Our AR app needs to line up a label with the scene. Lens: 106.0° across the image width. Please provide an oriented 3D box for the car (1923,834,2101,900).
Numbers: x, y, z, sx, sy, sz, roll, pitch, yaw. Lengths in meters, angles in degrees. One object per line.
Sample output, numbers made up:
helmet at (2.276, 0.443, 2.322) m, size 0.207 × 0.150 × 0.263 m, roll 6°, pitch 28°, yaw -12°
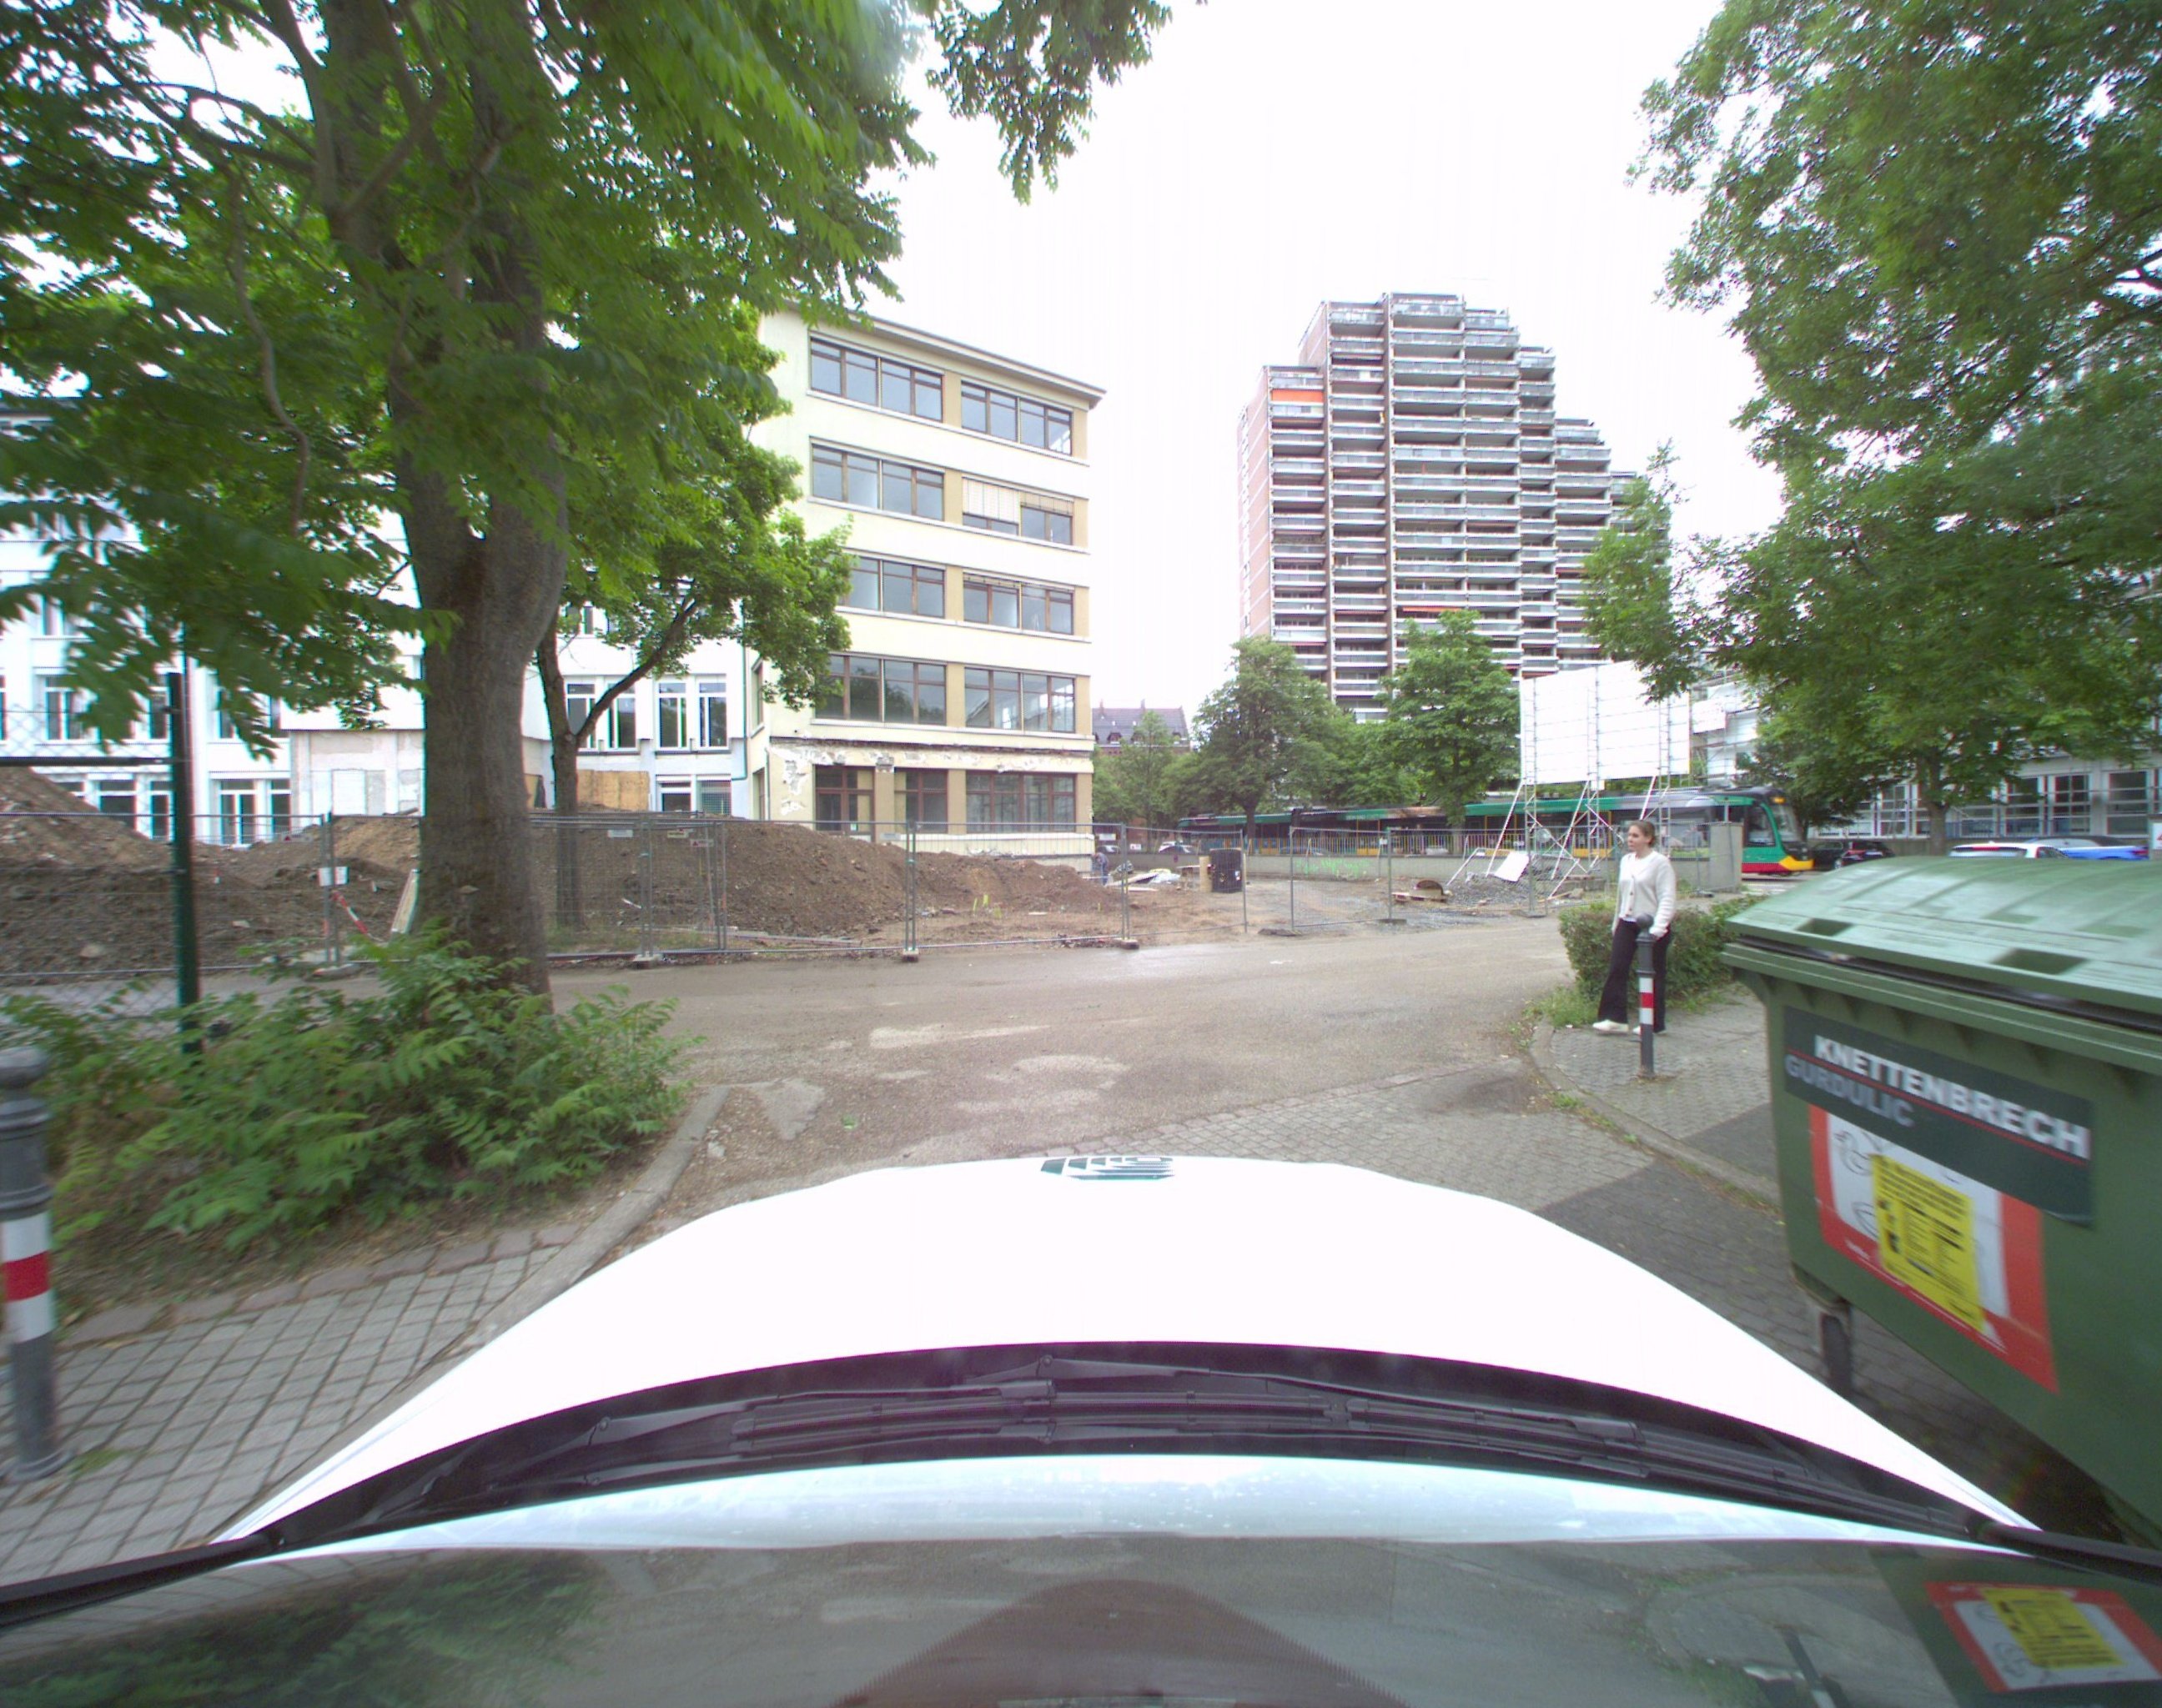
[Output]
car at (22.263, 0.330, 19.470) m, size 3.984 × 1.433 × 1.767 m, roll 1°, pitch -1°, yaw -25°

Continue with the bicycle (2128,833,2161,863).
bicycle at (43.053, -0.260, 32.384) m, size 2.302 × 1.074 × 0.644 m, roll -3°, pitch 1°, yaw -8°

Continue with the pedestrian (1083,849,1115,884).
pedestrian at (0.772, 0.517, 34.817) m, size 0.987 × 1.437 × 0.921 m, roll -1°, pitch 0°, yaw -33°

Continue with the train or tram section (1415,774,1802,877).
train or tram section at (21.722, -1.007, 35.620) m, size 2.676 × 3.614 × 14.631 m, roll -1°, pitch 0°, yaw -29°

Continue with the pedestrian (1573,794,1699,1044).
pedestrian at (4.282, 0.459, 6.279) m, size 0.742 × 1.781 × 0.667 m, roll -1°, pitch 0°, yaw 37°

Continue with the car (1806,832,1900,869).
car at (33.323, -0.144, 35.269) m, size 1.601 × 1.511 × 3.351 m, roll -1°, pitch 0°, yaw 16°

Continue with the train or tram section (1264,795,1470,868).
train or tram section at (15.682, -1.138, 46.300) m, size 2.676 × 3.614 × 12.340 m, roll -1°, pitch 0°, yaw -29°

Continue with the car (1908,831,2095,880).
car at (30.999, 0.049, 27.557) m, size 1.607 × 1.519 × 3.962 m, roll -1°, pitch 0°, yaw -29°

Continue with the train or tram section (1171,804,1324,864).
train or tram section at (10.801, -1.197, 55.050) m, size 2.676 × 3.614 × 12.340 m, roll -1°, pitch 0°, yaw -29°

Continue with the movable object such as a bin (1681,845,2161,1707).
movable object such as a bin at (2.364, 0.707, 1.911) m, size 1.062 × 1.434 × 1.279 m, roll -1°, pitch 0°, yaw 9°
